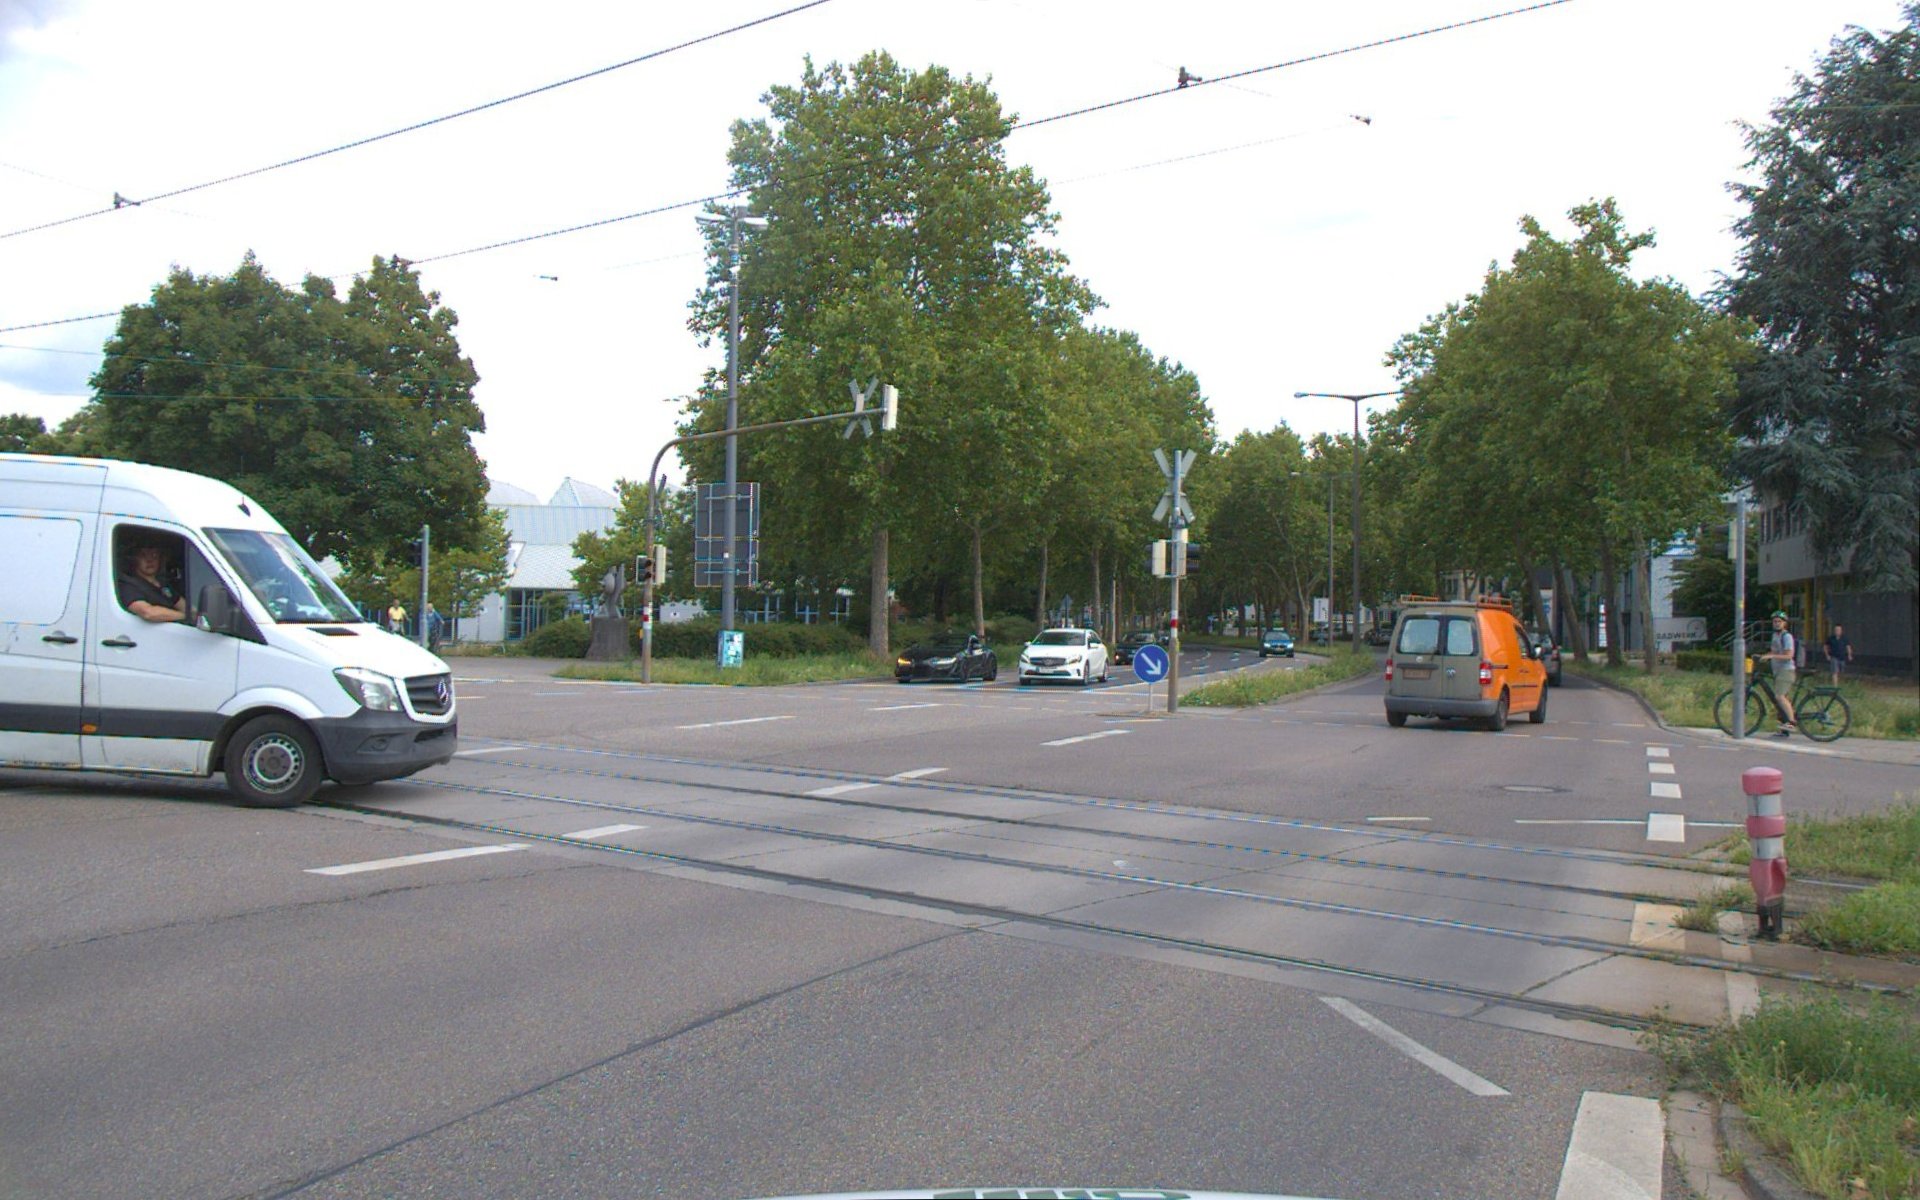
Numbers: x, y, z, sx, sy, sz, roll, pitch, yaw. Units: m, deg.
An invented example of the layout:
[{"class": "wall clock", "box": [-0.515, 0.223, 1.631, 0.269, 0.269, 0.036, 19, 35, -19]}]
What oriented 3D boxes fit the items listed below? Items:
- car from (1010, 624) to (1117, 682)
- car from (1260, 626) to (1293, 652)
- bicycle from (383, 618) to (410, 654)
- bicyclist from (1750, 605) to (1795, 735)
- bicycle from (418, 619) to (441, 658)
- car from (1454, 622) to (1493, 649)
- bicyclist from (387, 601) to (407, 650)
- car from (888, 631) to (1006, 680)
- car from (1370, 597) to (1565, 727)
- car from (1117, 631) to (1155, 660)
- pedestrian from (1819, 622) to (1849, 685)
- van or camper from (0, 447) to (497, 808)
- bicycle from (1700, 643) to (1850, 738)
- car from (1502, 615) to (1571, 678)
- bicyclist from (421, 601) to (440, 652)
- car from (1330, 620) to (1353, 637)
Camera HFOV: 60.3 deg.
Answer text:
[{"class": "car", "box": [2.759, 1.357, 43.390, 1.787, 1.388, 4.139, 1, -1, 18]}, {"class": "car", "box": [17.935, 2.210, 93.783, 1.621, 1.293, 3.774, 0, 1, 8]}, {"class": "bicycle", "box": [-18.388, 1.166, 53.953, 0.554, 1.150, 1.366, 1, -1, -29]}, {"class": "bicyclist", "box": [11.779, 0.996, 23.980, 0.533, 1.841, 0.540, 1, 1, 30]}, {"class": "bicycle", "box": [-16.399, 1.185, 51.144, 0.551, 1.150, 1.374, 2, -2, -15]}, {"class": "car", "box": [34.497, 2.376, 111.137, 1.951, 1.601, 4.004, 0, 1, 9]}, {"class": "bicyclist", "box": [-18.352, 0.818, 53.908, 0.480, 1.581, 0.551, 3, -2, -29]}, {"class": "car", "box": [-0.305, 1.448, 43.845, 1.603, 1.212, 3.703, 1, -1, 27]}, {"class": "car", "box": [8.043, 0.925, 25.961, 1.844, 1.831, 4.358, 1, -1, 32]}, {"class": "car", "box": [7.781, 1.982, 72.822, 1.600, 1.212, 3.711, 1, -1, 7]}, {"class": "pedestrian", "box": [23.002, 1.399, 43.521, 0.607, 1.597, 0.559, 0, 1, 20]}, {"class": "van or camper", "box": [-6.932, 0.177, 13.100, 5.892, 2.569, 1.983, 1, -1, 2]}, {"class": "bicycle", "box": [11.800, 1.288, 23.968, 1.909, 1.257, 0.540, 1, 1, 30]}, {"class": "car", "box": [16.300, 1.318, 46.671, 1.694, 1.659, 4.052, 1, -1, 21]}, {"class": "bicyclist", "box": [-16.392, 0.826, 51.181, 0.477, 1.581, 0.554, 2, -2, -15]}, {"class": "car", "box": [39.569, 2.918, 171.638, 1.951, 1.601, 4.004, 0, 1, 9]}]
